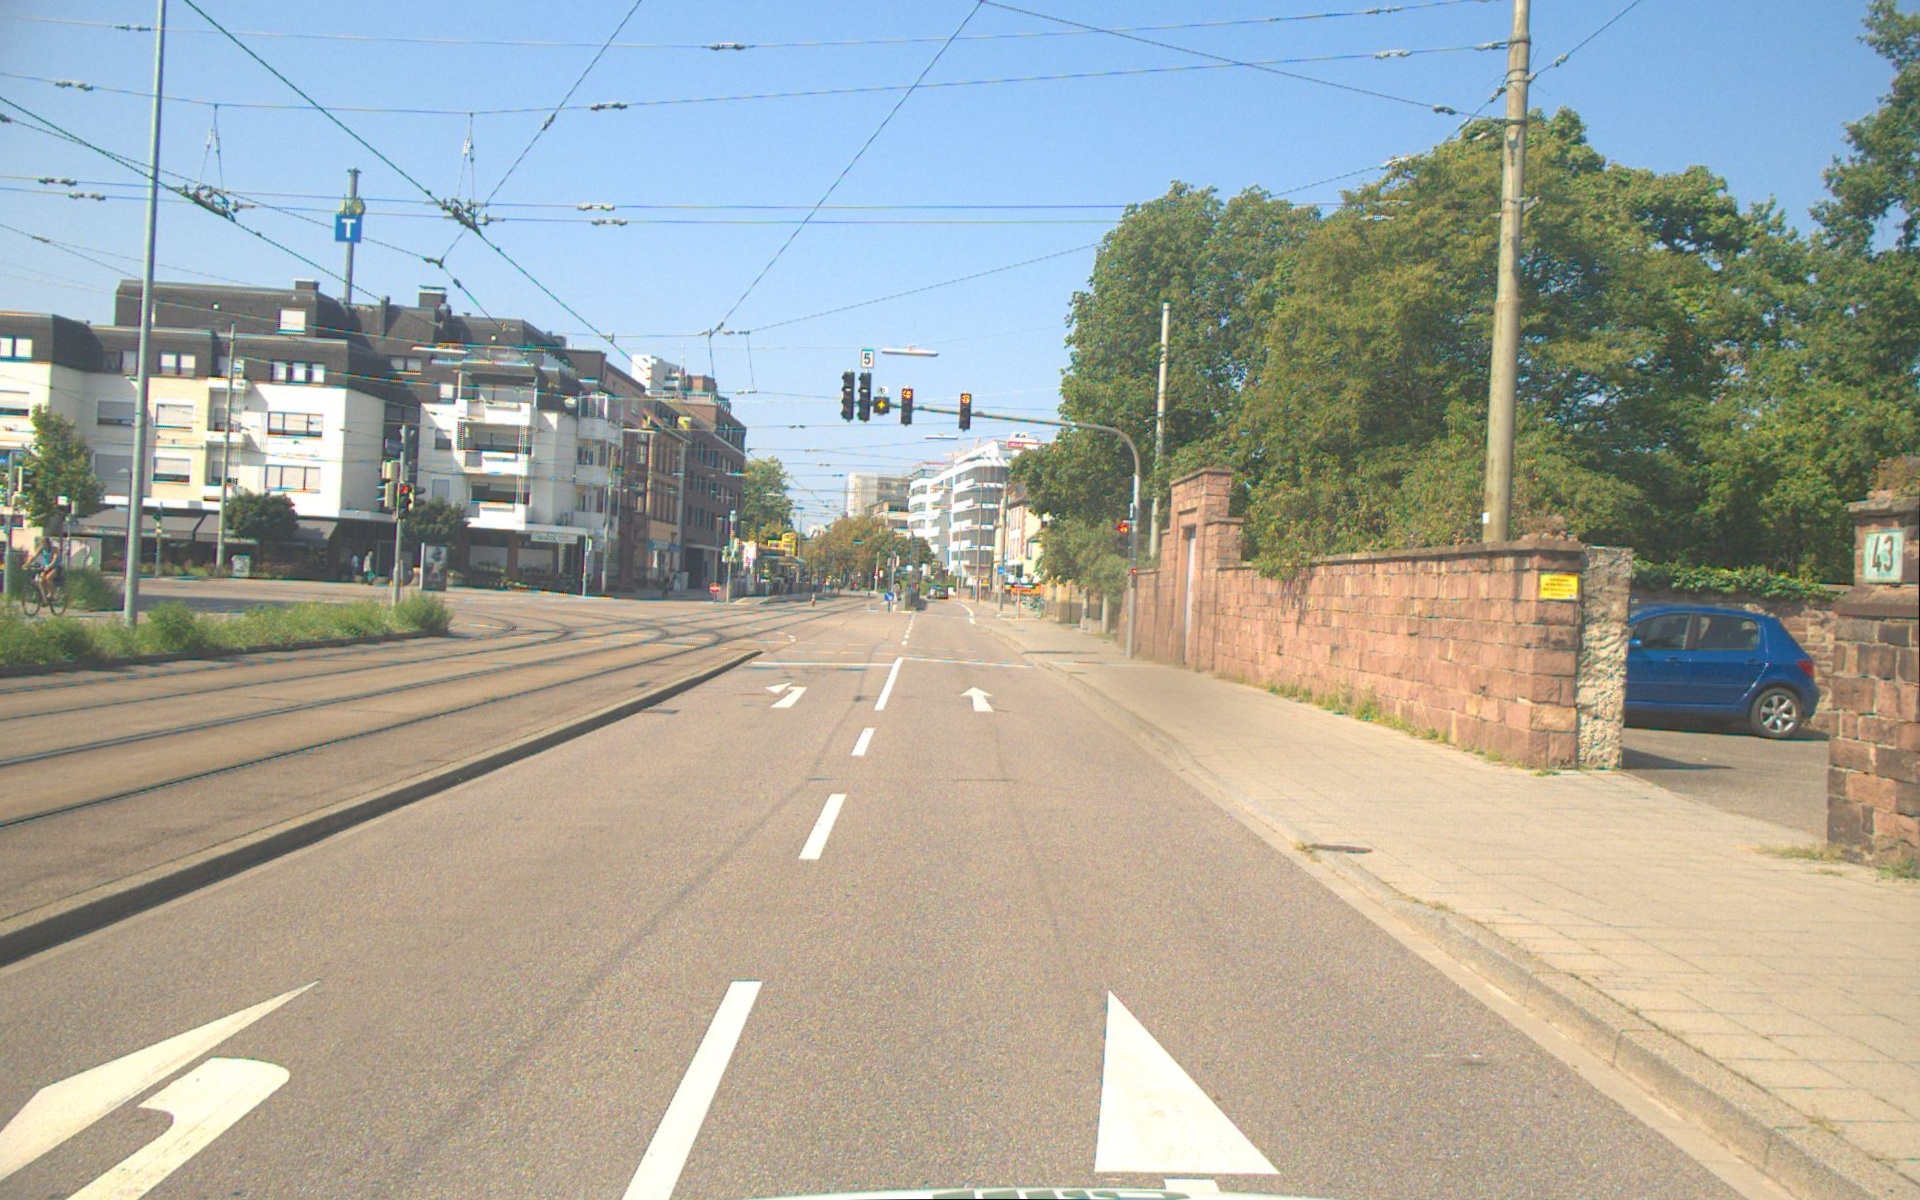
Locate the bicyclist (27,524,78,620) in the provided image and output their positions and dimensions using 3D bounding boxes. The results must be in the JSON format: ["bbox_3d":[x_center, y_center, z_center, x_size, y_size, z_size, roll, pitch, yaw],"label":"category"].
[{"bbox_3d":[-20.136,-0.611,36.709,0.624,2.100,0.775,1,0,3],"label":"bicyclist"}]

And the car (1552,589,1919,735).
[{"bbox_3d":[9.689,0.745,20.648,3.888,1.489,1.777,4,1,-2],"label":"car"}]

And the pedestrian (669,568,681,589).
[{"bbox_3d":[-22.325,-1.666,129.562,0.473,1.587,0.888,4,-1,10],"label":"pedestrian"}]

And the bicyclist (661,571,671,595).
[{"bbox_3d":[-18.885,-1.096,106.230,0.556,1.549,0.490,1,0,0],"label":"bicyclist"}]

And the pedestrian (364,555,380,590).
[{"bbox_3d":[-29.864,-1.395,84.003,0.593,1.776,0.559,1,0,-34],"label":"pedestrian"}]

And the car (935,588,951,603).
[{"bbox_3d":[-2.222,-0.620,215.726,1.970,1.891,4.000,1,0,0],"label":"car"}]

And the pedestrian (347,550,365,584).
[{"bbox_3d":[-31.947,-1.746,87.525,0.665,1.771,0.698,1,0,0],"label":"pedestrian"}]

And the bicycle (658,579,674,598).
[{"bbox_3d":[-18.895,-0.752,106.408,0.563,1.200,2.208,1,1,1],"label":"bicycle"}]

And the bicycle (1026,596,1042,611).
[{"bbox_3d":[5.621,0.240,126.530,0.717,1.152,2.835,0,0,-8],"label":"bicycle"}]

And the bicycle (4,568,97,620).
[{"bbox_3d":[-20.159,-0.127,36.720,0.700,1.110,2.266,1,0,3],"label":"bicycle"}]

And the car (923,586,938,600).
[{"bbox_3d":[-3.934,-0.950,221.914,1.970,1.891,4.000,1,0,0],"label":"car"}]
